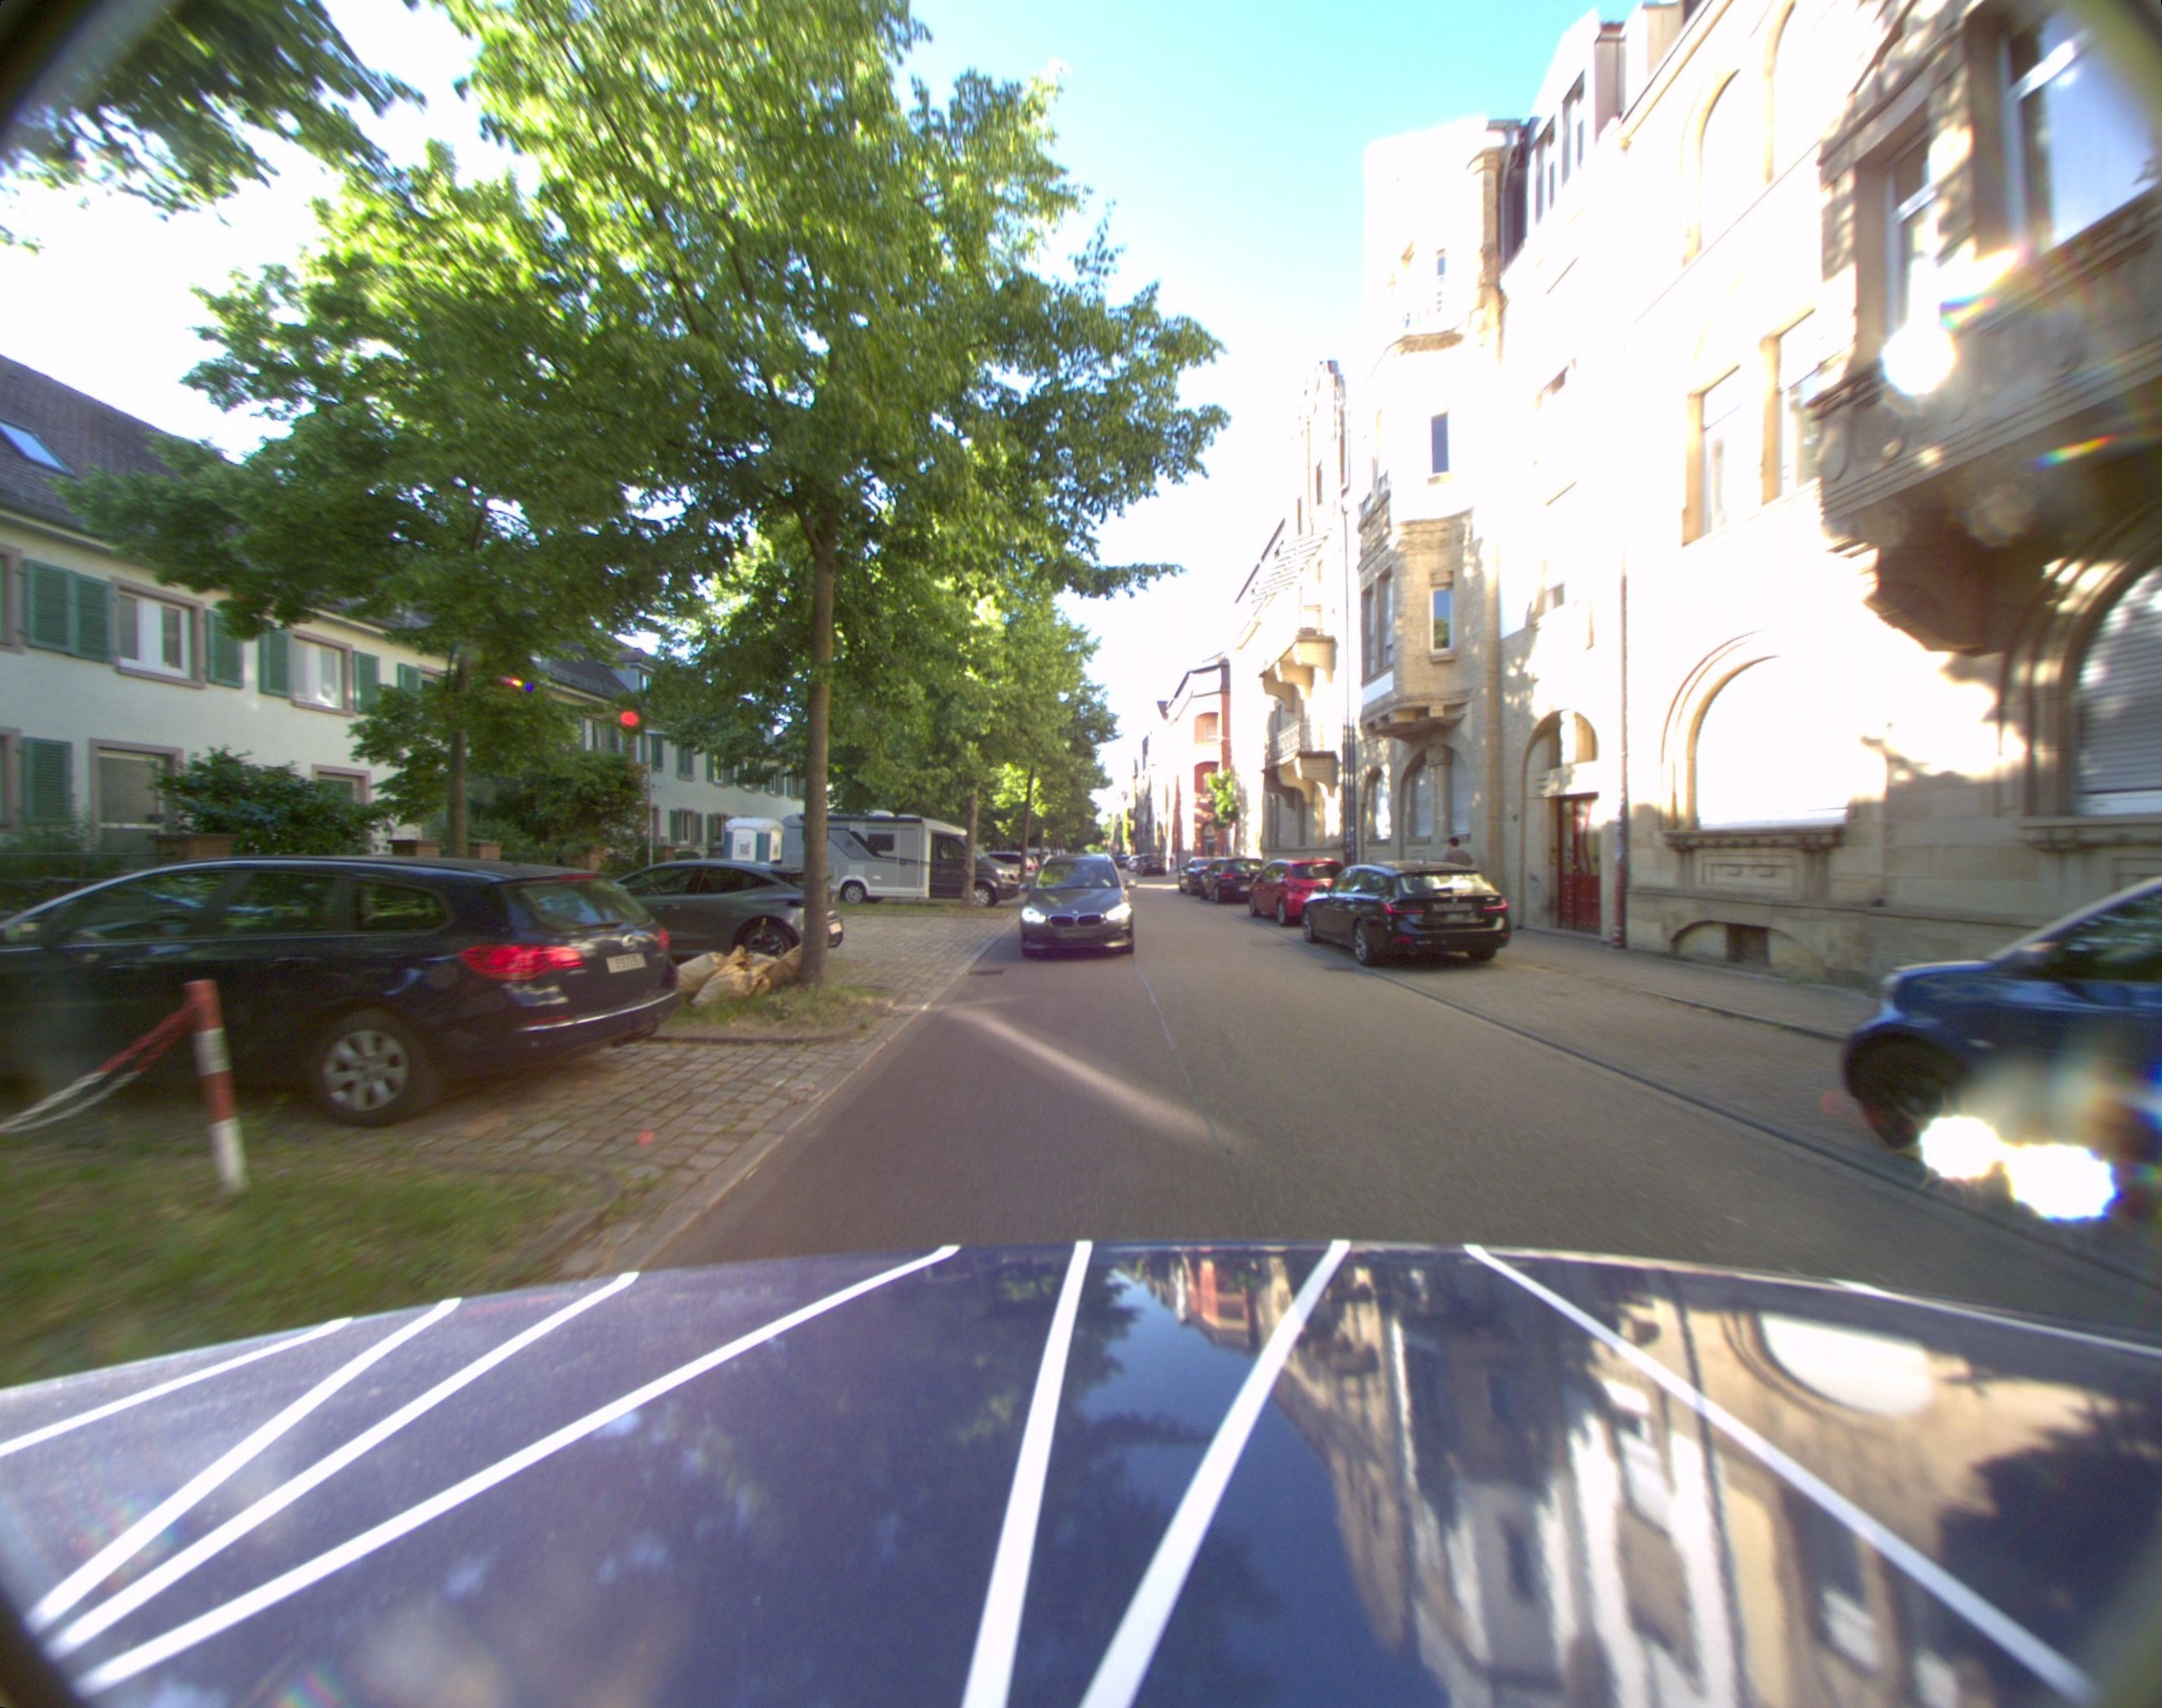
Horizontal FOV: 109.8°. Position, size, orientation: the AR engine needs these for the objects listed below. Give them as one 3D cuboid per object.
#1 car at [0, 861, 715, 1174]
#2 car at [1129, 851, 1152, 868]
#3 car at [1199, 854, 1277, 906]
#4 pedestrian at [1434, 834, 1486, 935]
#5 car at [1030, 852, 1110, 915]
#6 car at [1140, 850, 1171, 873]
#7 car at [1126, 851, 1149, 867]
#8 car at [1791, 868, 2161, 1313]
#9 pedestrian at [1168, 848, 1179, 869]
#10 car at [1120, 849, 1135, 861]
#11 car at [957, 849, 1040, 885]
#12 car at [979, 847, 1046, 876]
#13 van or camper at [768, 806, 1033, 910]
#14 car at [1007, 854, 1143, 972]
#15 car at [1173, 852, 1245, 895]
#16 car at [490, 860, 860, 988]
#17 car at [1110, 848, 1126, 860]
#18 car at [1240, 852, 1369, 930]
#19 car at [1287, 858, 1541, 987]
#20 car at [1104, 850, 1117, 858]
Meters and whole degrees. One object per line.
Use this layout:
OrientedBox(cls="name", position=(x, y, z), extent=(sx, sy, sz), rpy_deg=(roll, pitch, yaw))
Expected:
OrientedBox(cls="car", position=(-5.045, 0.870, 4.927), extent=(4.468, 1.469, 1.753), rpy_deg=(2, 1, 2))
OrientedBox(cls="car", position=(5.686, 0.491, 72.913), extent=(1.922, 1.510, 4.000), rpy_deg=(0, 0, 0))
OrientedBox(cls="car", position=(5.006, 0.779, 24.731), extent=(1.747, 1.457, 3.998), rpy_deg=(-2, 1, 2))
OrientedBox(cls="pedestrian", position=(7.100, 0.562, 14.240), extent=(0.695, 1.837, 0.497), rpy_deg=(-2, 1, 2))
OrientedBox(cls="car", position=(-0.242, 0.762, 21.884), extent=(1.998, 1.510, 4.651), rpy_deg=(-3, 0, 1))
OrientedBox(cls="car", position=(5.553, 0.518, 56.867), extent=(1.862, 1.595, 4.000), rpy_deg=(-3, 0, 0))
OrientedBox(cls="car", position=(5.738, 0.482, 77.129), extent=(1.998, 1.515, 4.000), rpy_deg=(-2, 1, 1))
OrientedBox(cls="car", position=(4.787, 0.890, 2.763), extent=(1.688, 1.500, 2.861), rpy_deg=(-4, 0, 1))
OrientedBox(cls="pedestrian", position=(7.367, 0.366, 60.471), extent=(0.779, 1.693, 1.010), rpy_deg=(0, 1, 1))
OrientedBox(cls="car", position=(5.688, 0.090, 93.402), extent=(1.702, 1.372, 4.000), rpy_deg=(0, 0, 0))
OrientedBox(cls="car", position=(-4.200, 0.641, 39.233), extent=(3.997, 1.804, 2.000), rpy_deg=(0, 1, 1))
OrientedBox(cls="car", position=(-4.484, 0.484, 50.069), extent=(3.994, 1.871, 2.001), rpy_deg=(0, 1, 9))
OrientedBox(cls="van or camper", position=(-5.173, 0.086, 22.653), extent=(7.266, 2.888, 2.427), rpy_deg=(0, 2, 1))
OrientedBox(cls="car", position=(-0.044, 0.864, 13.379), extent=(1.924, 1.597, 4.516), rpy_deg=(-3, 0, 1))
OrientedBox(cls="car", position=(5.019, 0.715, 30.389), extent=(1.893, 1.448, 4.510), rpy_deg=(-4, 0, -1))
OrientedBox(cls="car", position=(-5.331, 0.882, 10.491), extent=(3.998, 1.510, 1.999), rpy_deg=(0, 2, -3))
OrientedBox(cls="car", position=(5.101, -0.033, 105.320), extent=(1.987, 1.549, 3.832), rpy_deg=(0, 0, 0))
OrientedBox(cls="car", position=(5.037, 0.765, 17.636), extent=(1.694, 1.458, 3.772), rpy_deg=(-5, 1, -1))
OrientedBox(cls="car", position=(4.791, 0.873, 11.801), extent=(1.905, 1.430, 4.541), rpy_deg=(-4, 0, 0))
OrientedBox(cls="car", position=(6.201, -0.053, 157.756), extent=(2.000, 1.529, 3.997), rpy_deg=(-3, 1, -8))
